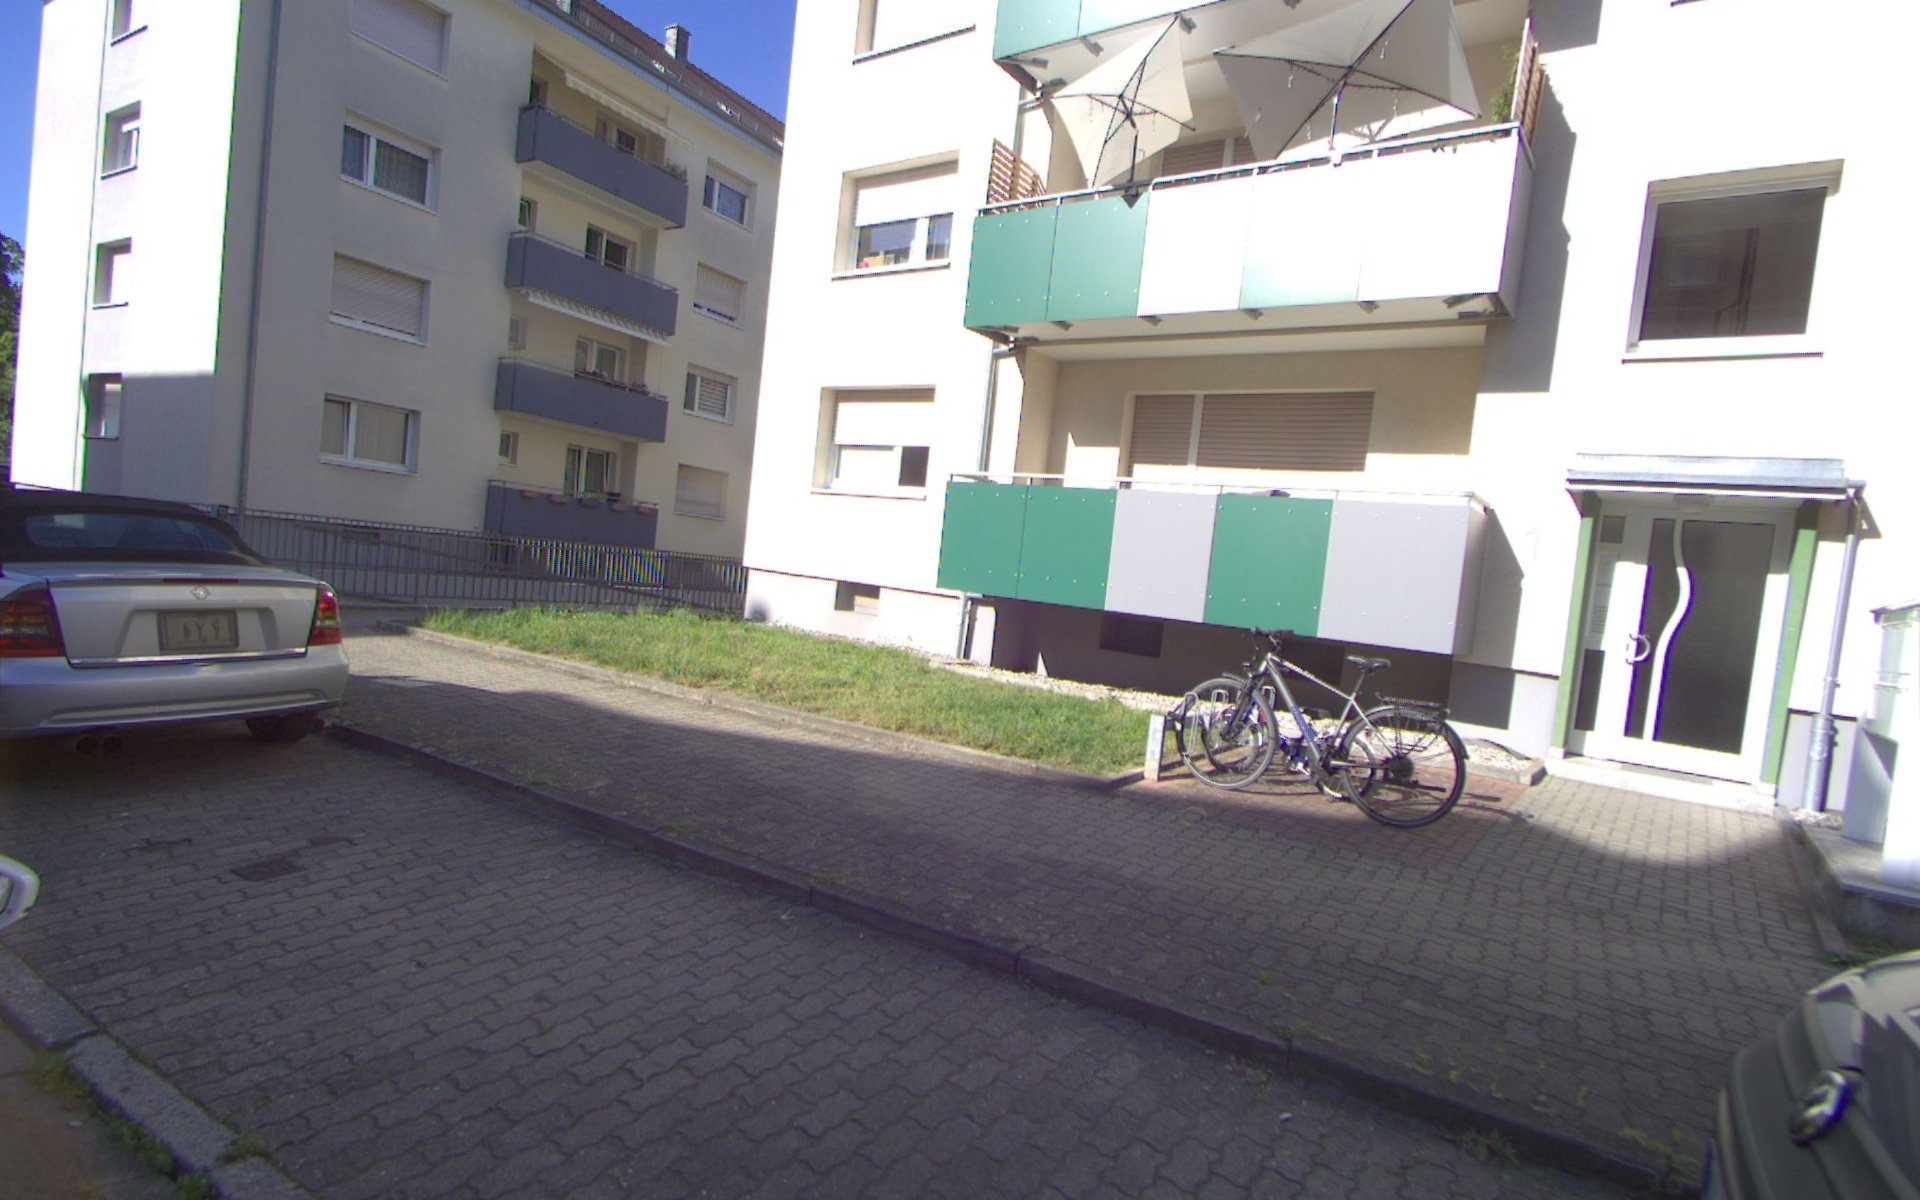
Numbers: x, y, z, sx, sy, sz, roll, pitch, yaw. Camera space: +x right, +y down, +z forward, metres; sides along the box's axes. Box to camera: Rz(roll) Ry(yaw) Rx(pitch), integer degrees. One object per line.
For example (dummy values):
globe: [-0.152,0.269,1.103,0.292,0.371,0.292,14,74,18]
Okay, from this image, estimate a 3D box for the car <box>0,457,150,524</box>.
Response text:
car: [-27.829,-3.388,31.042,1.595,1.569,4.075,7,2,30]

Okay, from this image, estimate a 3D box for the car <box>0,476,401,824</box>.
car: [-5.411,0.020,5.966,4.241,1.426,1.741,7,4,30]

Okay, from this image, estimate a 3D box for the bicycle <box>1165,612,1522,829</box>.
bicycle: [2.431,0.713,6.597,2.044,1.058,0.504,7,2,40]

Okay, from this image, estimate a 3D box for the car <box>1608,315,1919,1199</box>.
car: [3.314,0.902,0.484,4.838,1.866,1.758,7,4,32]

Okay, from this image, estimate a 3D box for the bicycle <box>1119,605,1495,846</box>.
bicycle: [2.050,0.687,6.195,2.044,1.107,0.504,7,2,40]
